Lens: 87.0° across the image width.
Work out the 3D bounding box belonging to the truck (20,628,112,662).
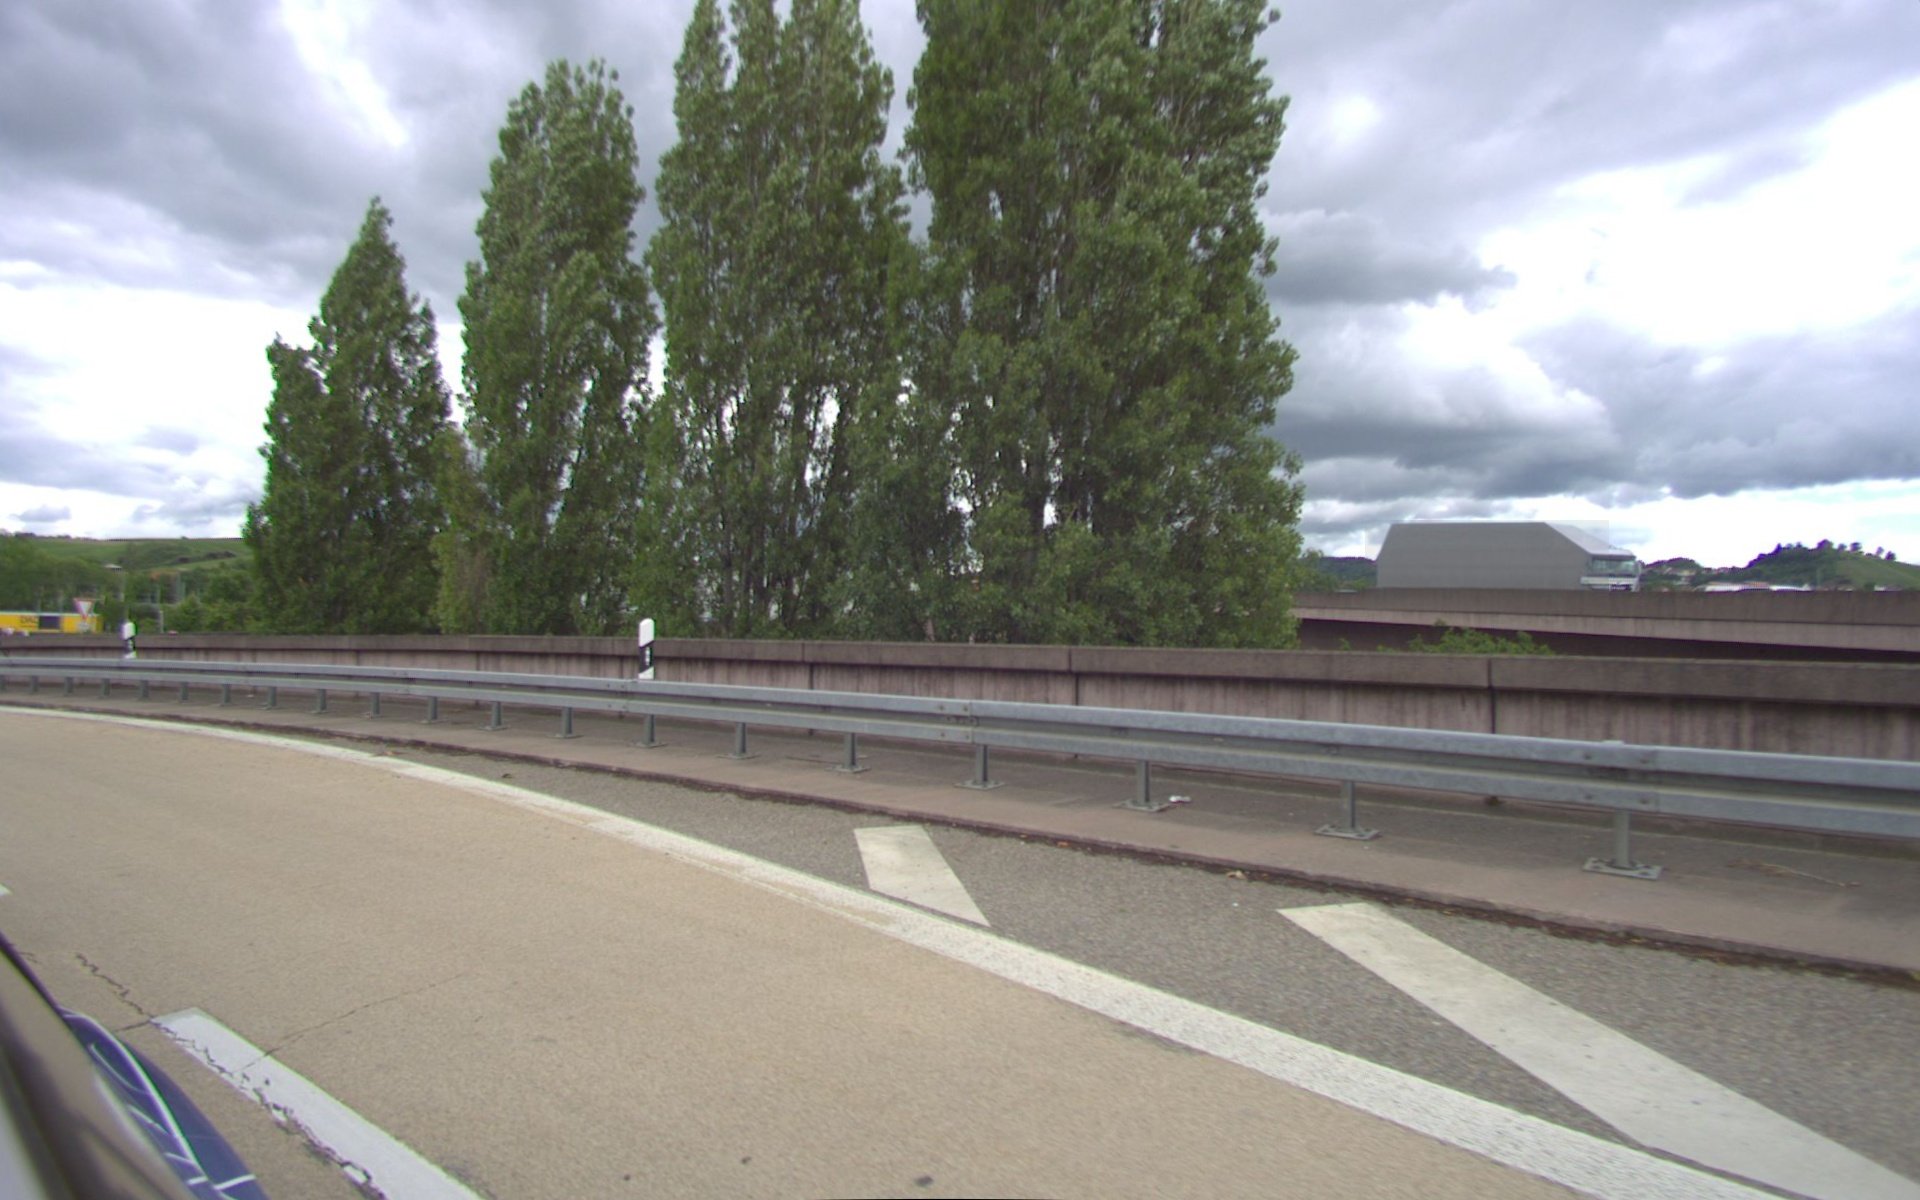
[{"bbox_3d":[-92.301,4.683,104.658,2.328,3.288,6.967,0,-3,12],"label":"truck"}]

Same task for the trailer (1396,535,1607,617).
[{"bbox_3d":[30.064,-1.209,57.536,2.820,4.041,13.998,-2,0,-8],"label":"trailer"}]

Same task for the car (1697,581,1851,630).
[{"bbox_3d":[28.087,0.188,35.097,1.761,1.530,4.005,-2,0,-6],"label":"car"}]

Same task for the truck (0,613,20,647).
[{"bbox_3d":[-122.373,3.756,127.586,5.013,4.236,2.644,2,-1,-23],"label":"truck"}]

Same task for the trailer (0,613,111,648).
[{"bbox_3d":[-116.740,3.925,129.967,11.453,4.236,2.644,2,-1,-23],"label":"trailer"}]

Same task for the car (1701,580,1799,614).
[{"bbox_3d":[38.984,-0.138,50.071,1.663,1.530,3.655,-3,0,-6],"label":"car"}]

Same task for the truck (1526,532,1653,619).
[{"bbox_3d":[31.058,-1.190,50.135,2.820,4.041,4.800,-2,0,-8],"label":"truck"}]
